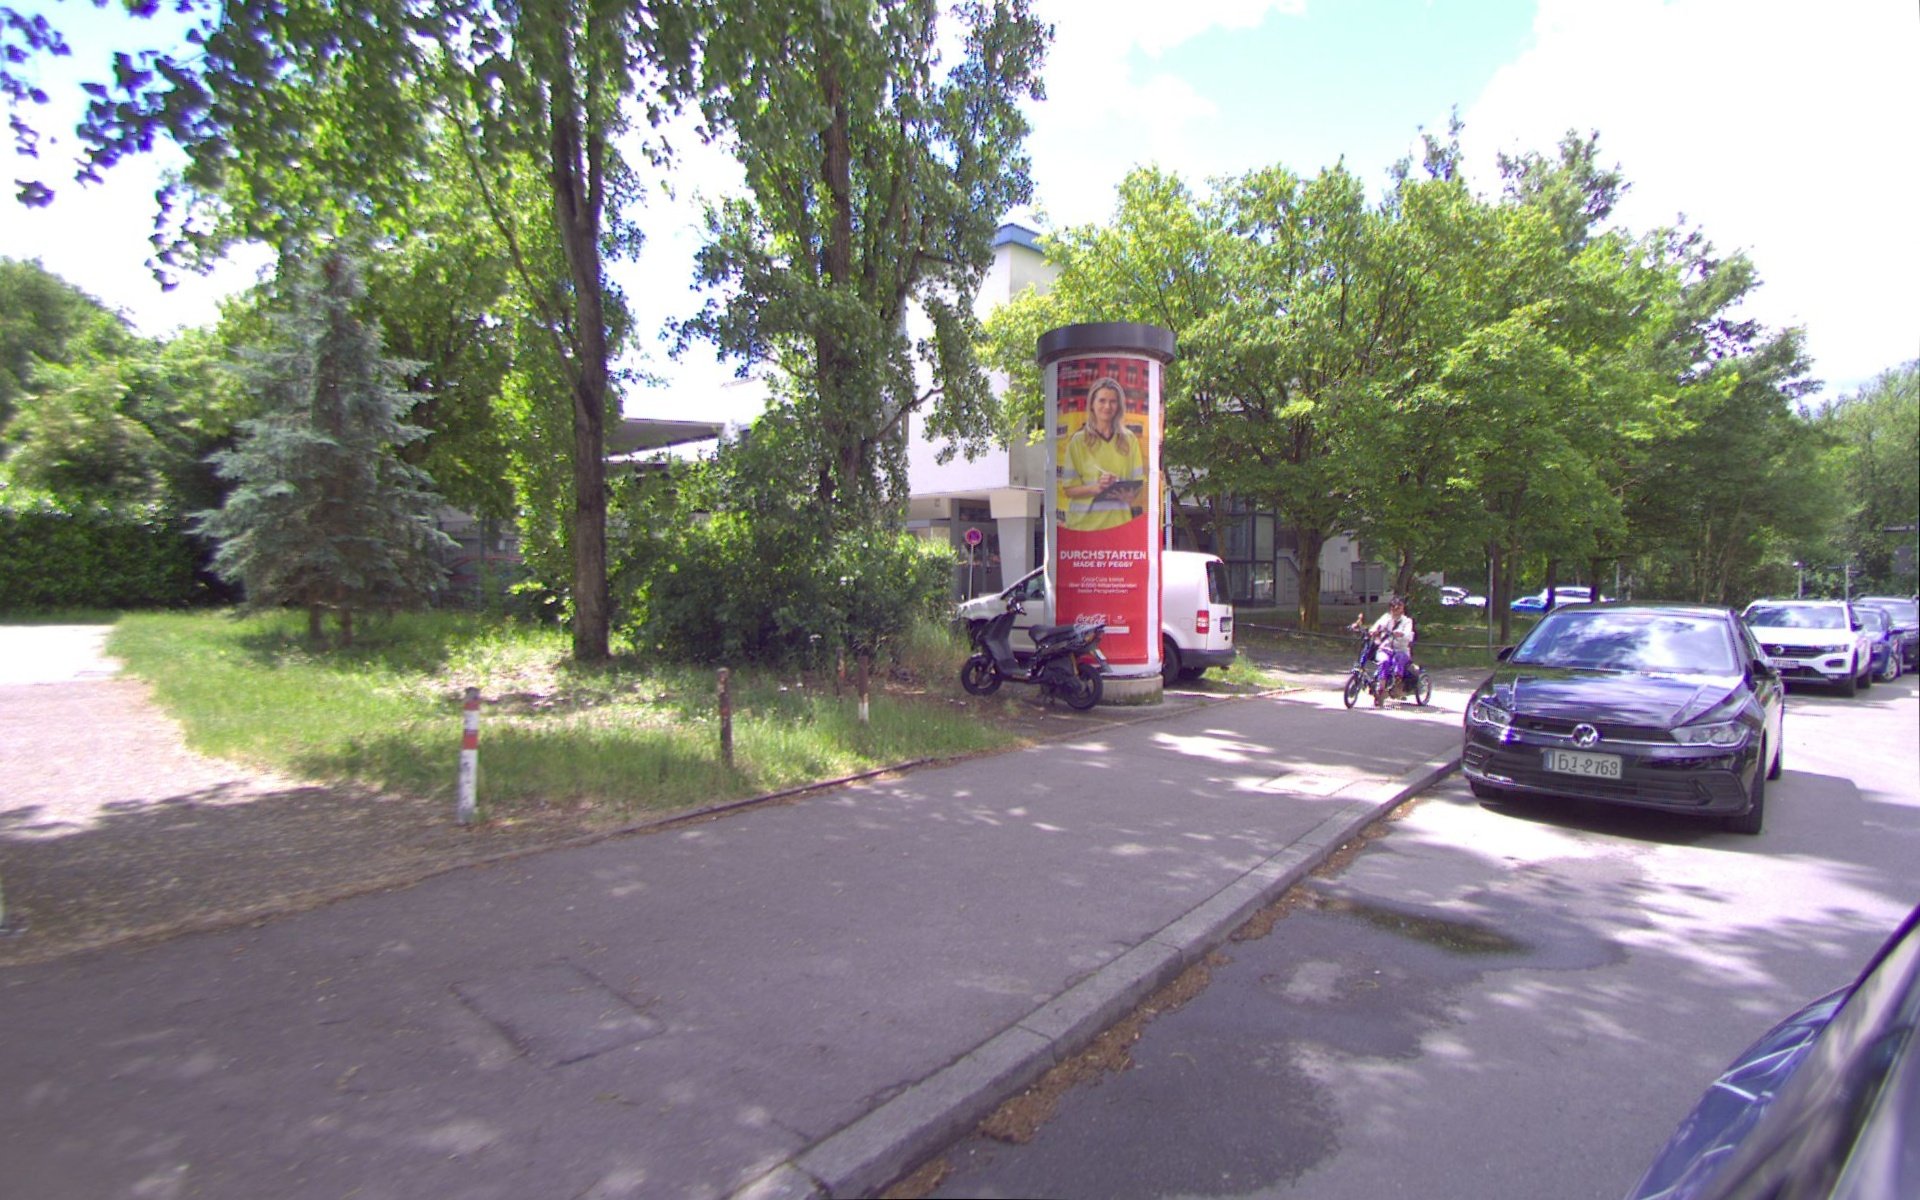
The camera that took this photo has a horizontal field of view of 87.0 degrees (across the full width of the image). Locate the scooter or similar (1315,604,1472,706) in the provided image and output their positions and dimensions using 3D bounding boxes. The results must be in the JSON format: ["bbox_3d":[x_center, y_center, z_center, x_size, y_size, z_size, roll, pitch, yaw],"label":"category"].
[{"bbox_3d":[5.223,0.619,12.128,2.077,1.077,0.891,1,2,-41],"label":"scooter or similar"}]

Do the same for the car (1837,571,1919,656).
[{"bbox_3d":[21.756,0.286,23.362,4.490,1.784,1.647,0,2,-41],"label":"car"}]

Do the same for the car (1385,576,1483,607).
[{"bbox_3d":[25.636,-0.482,54.838,4.392,1.431,1.921,4,5,44],"label":"car"}]

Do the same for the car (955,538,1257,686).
[{"bbox_3d":[2.102,0.088,14.789,3.965,1.845,1.792,3,2,29],"label":"car"}]

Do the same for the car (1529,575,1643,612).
[{"bbox_3d":[32.208,-0.362,52.187,1.892,1.610,4.647,-3,5,-43],"label":"car"}]

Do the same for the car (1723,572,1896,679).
[{"bbox_3d":[14.787,0.374,17.533,4.494,1.584,1.786,0,2,-44],"label":"car"}]

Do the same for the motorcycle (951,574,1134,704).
[{"bbox_3d":[0.864,0.368,10.780,1.785,1.225,0.705,3,2,30],"label":"motorcycle"}]

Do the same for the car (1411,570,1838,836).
[{"bbox_3d":[5.190,0.576,7.712,3.761,1.466,1.818,0,2,-43],"label":"car"}]

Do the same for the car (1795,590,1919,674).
[{"bbox_3d":[18.368,0.589,20.522,4.006,1.476,1.646,0,2,-43],"label":"car"}]

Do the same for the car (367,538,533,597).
[{"bbox_3d":[-14.508,-0.904,28.866,3.928,1.547,1.748,1,2,-40],"label":"car"}]

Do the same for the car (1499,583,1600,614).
[{"bbox_3d":[29.490,-0.104,50.695,1.882,1.239,3.964,-3,5,-43],"label":"car"}]

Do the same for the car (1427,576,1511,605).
[{"bbox_3d":[28.414,-0.562,56.570,3.888,1.429,1.584,4,5,44],"label":"car"}]

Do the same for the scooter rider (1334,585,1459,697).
[{"bbox_3d":[5.240,0.466,12.141,1.259,1.235,0.887,1,1,-41],"label":"scooter rider"}]
